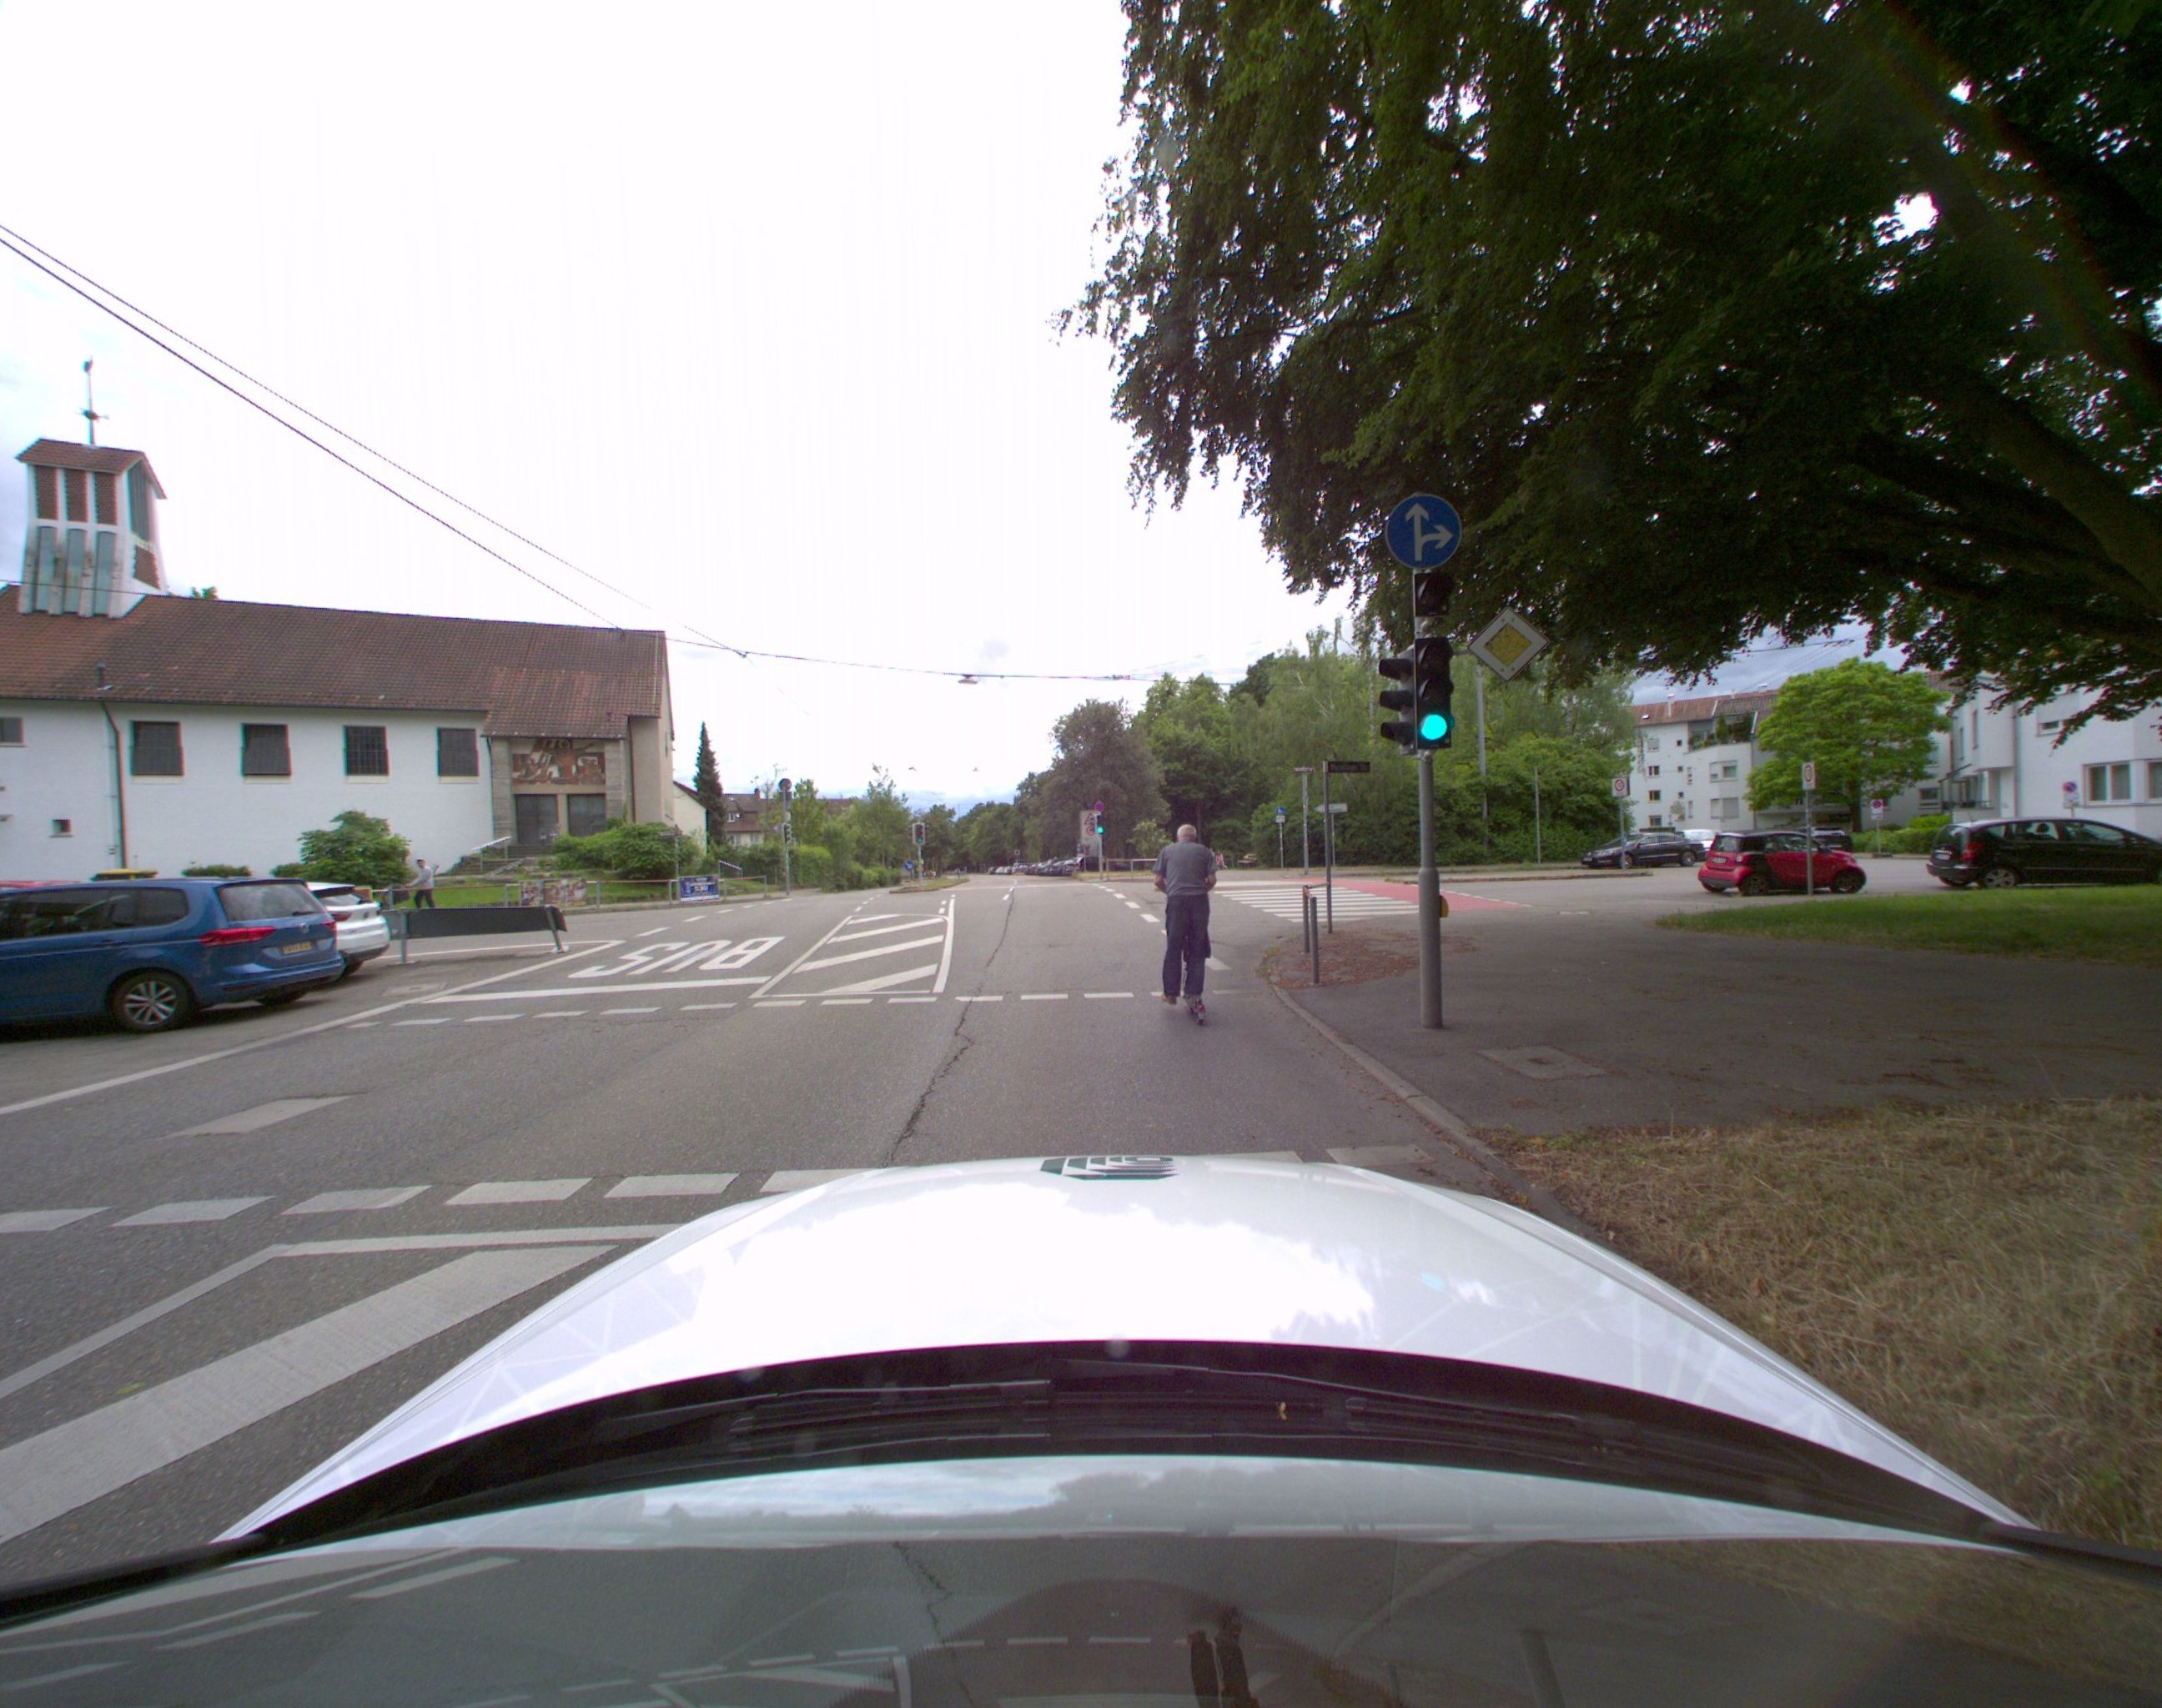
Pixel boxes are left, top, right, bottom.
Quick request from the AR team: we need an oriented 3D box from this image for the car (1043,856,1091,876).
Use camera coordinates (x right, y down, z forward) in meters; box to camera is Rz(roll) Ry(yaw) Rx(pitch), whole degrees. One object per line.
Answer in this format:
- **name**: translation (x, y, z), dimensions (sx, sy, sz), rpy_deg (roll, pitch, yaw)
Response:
- **car**: translation (-1.289, 1.096, 74.221), dimensions (3.996, 1.725, 1.670), rpy_deg (-2, -2, -18)

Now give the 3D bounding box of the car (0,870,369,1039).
- **car**: translation (-10.974, 1.072, 9.046), dimensions (4.167, 1.547, 1.839), rpy_deg (-2, 1, -11)

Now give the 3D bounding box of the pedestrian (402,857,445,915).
- **pedestrian**: translation (-19.179, 0.921, 23.762), dimensions (0.680, 1.653, 0.836), rpy_deg (-2, -2, 39)

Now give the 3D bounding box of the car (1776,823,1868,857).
- **car**: translation (36.783, -0.658, 40.566), dimensions (1.913, 1.545, 4.084), rpy_deg (-2, 0, 19)

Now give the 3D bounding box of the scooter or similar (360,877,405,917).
- **scooter or similar**: translation (-19.765, 1.194, 23.052), dimensions (0.604, 1.095, 0.895), rpy_deg (-2, -2, 41)

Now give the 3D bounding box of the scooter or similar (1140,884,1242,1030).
- **scooter or similar**: translation (0.992, 0.899, 7.655), dimensions (0.680, 1.139, 1.458), rpy_deg (-2, 1, -2)

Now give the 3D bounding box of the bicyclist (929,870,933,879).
- **bicyclist**: translation (-32.399, 4.427, 175.987), dimensions (0.845, 1.697, 0.711), rpy_deg (-2, -1, -10)

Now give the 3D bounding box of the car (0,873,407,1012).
- **car**: translation (-12.117, 1.122, 11.205), dimensions (3.901, 1.472, 1.835), rpy_deg (-3, 1, -17)

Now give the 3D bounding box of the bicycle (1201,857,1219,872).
- **bicycle**: translation (7.359, 0.588, 46.477), dimensions (0.638, 0.758, 1.678), rpy_deg (-3, 1, -5)

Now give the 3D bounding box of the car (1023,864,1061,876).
- **car**: translation (-4.774, 1.913, 99.527), dimensions (4.330, 1.341, 1.721), rpy_deg (-1, -2, -22)

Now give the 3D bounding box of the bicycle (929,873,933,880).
- **bicycle**: translation (-32.374, 4.862, 175.944), dimensions (0.844, 1.266, 2.643), rpy_deg (-2, 0, -9)

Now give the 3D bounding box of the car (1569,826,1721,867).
- **car**: translation (22.546, -0.304, 32.669), dimensions (4.775, 1.439, 2.036), rpy_deg (-2, 0, -4)

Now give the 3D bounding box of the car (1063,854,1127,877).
- **car**: translation (0.984, 0.788, 56.993), dimensions (4.148, 1.476, 1.566), rpy_deg (-1, -1, -19)

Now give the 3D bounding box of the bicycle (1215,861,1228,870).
- **bicycle**: translation (8.336, 0.686, 48.456), dimensions (0.517, 0.497, 0.987), rpy_deg (-3, -2, -3)

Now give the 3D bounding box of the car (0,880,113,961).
- **car**: translation (-22.290, 1.391, 16.213), dimensions (1.753, 1.489, 3.707), rpy_deg (-2, 1, 45)

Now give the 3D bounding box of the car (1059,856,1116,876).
- **car**: translation (0.482, 0.956, 64.860), dimensions (4.229, 1.464, 1.625), rpy_deg (-2, -1, -17)

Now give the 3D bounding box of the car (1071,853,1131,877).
- **car**: translation (1.319, 0.748, 54.554), dimensions (3.717, 1.476, 1.570), rpy_deg (-2, -1, -11)

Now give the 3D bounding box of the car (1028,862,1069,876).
- **car**: translation (-3.771, 1.721, 94.177), dimensions (4.362, 1.445, 1.622), rpy_deg (-1, -1, -23)

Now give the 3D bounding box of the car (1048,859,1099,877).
- **car**: translation (-0.687, 1.194, 71.485), dimensions (4.172, 1.407, 1.687), rpy_deg (-2, -2, -19)

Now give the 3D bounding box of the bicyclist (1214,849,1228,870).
- **bicyclist**: translation (8.326, 0.329, 48.477), dimensions (0.517, 1.187, 0.966), rpy_deg (-2, -2, -3)

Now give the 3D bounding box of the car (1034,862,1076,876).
- **car**: translation (-2.706, 1.532, 83.933), dimensions (4.047, 1.327, 1.550), rpy_deg (-2, -2, -17)

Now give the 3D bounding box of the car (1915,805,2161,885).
- **car**: translation (21.214, -0.170, 17.784), dimensions (3.777, 1.591, 1.829), rpy_deg (-1, 0, 28)

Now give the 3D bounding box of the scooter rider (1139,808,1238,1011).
- **scooter rider**: translation (0.968, 0.470, 7.618), dimensions (0.680, 1.730, 1.195), rpy_deg (-2, 1, -2)

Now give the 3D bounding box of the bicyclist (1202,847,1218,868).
- **bicyclist**: translation (7.352, 0.195, 46.442), dimensions (0.638, 1.161, 0.802), rpy_deg (-3, 1, -6)

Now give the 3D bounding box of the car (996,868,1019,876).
- **car**: translation (-13.884, 3.349, 154.470), dimensions (3.911, 1.309, 1.725), rpy_deg (-1, -2, -33)

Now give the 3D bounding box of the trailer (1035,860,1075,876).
- **trailer**: translation (-2.576, 1.390, 81.680), dimensions (3.700, 1.535, 1.635), rpy_deg (-1, -1, -20)

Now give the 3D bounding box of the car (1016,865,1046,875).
- **car**: translation (-7.256, 2.290, 117.350), dimensions (3.982, 1.405, 1.743), rpy_deg (-1, -1, -23)

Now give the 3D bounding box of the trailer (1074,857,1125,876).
- **trailer**: translation (1.323, 0.927, 60.050), dimensions (3.411, 1.267, 1.606), rpy_deg (-2, -2, -18)

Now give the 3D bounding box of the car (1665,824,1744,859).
- **car**: translation (29.429, -0.569, 38.566), dimensions (1.788, 1.487, 3.687), rpy_deg (-2, 0, 18)

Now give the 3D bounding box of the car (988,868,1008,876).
- **car**: translation (-17.509, 3.770, 172.427), dimensions (3.907, 1.429, 1.727), rpy_deg (-1, -2, -28)

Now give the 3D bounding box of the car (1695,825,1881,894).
- **car**: translation (16.663, 0.103, 19.331), dimensions (2.896, 1.506, 1.700), rpy_deg (-1, 1, 7)
